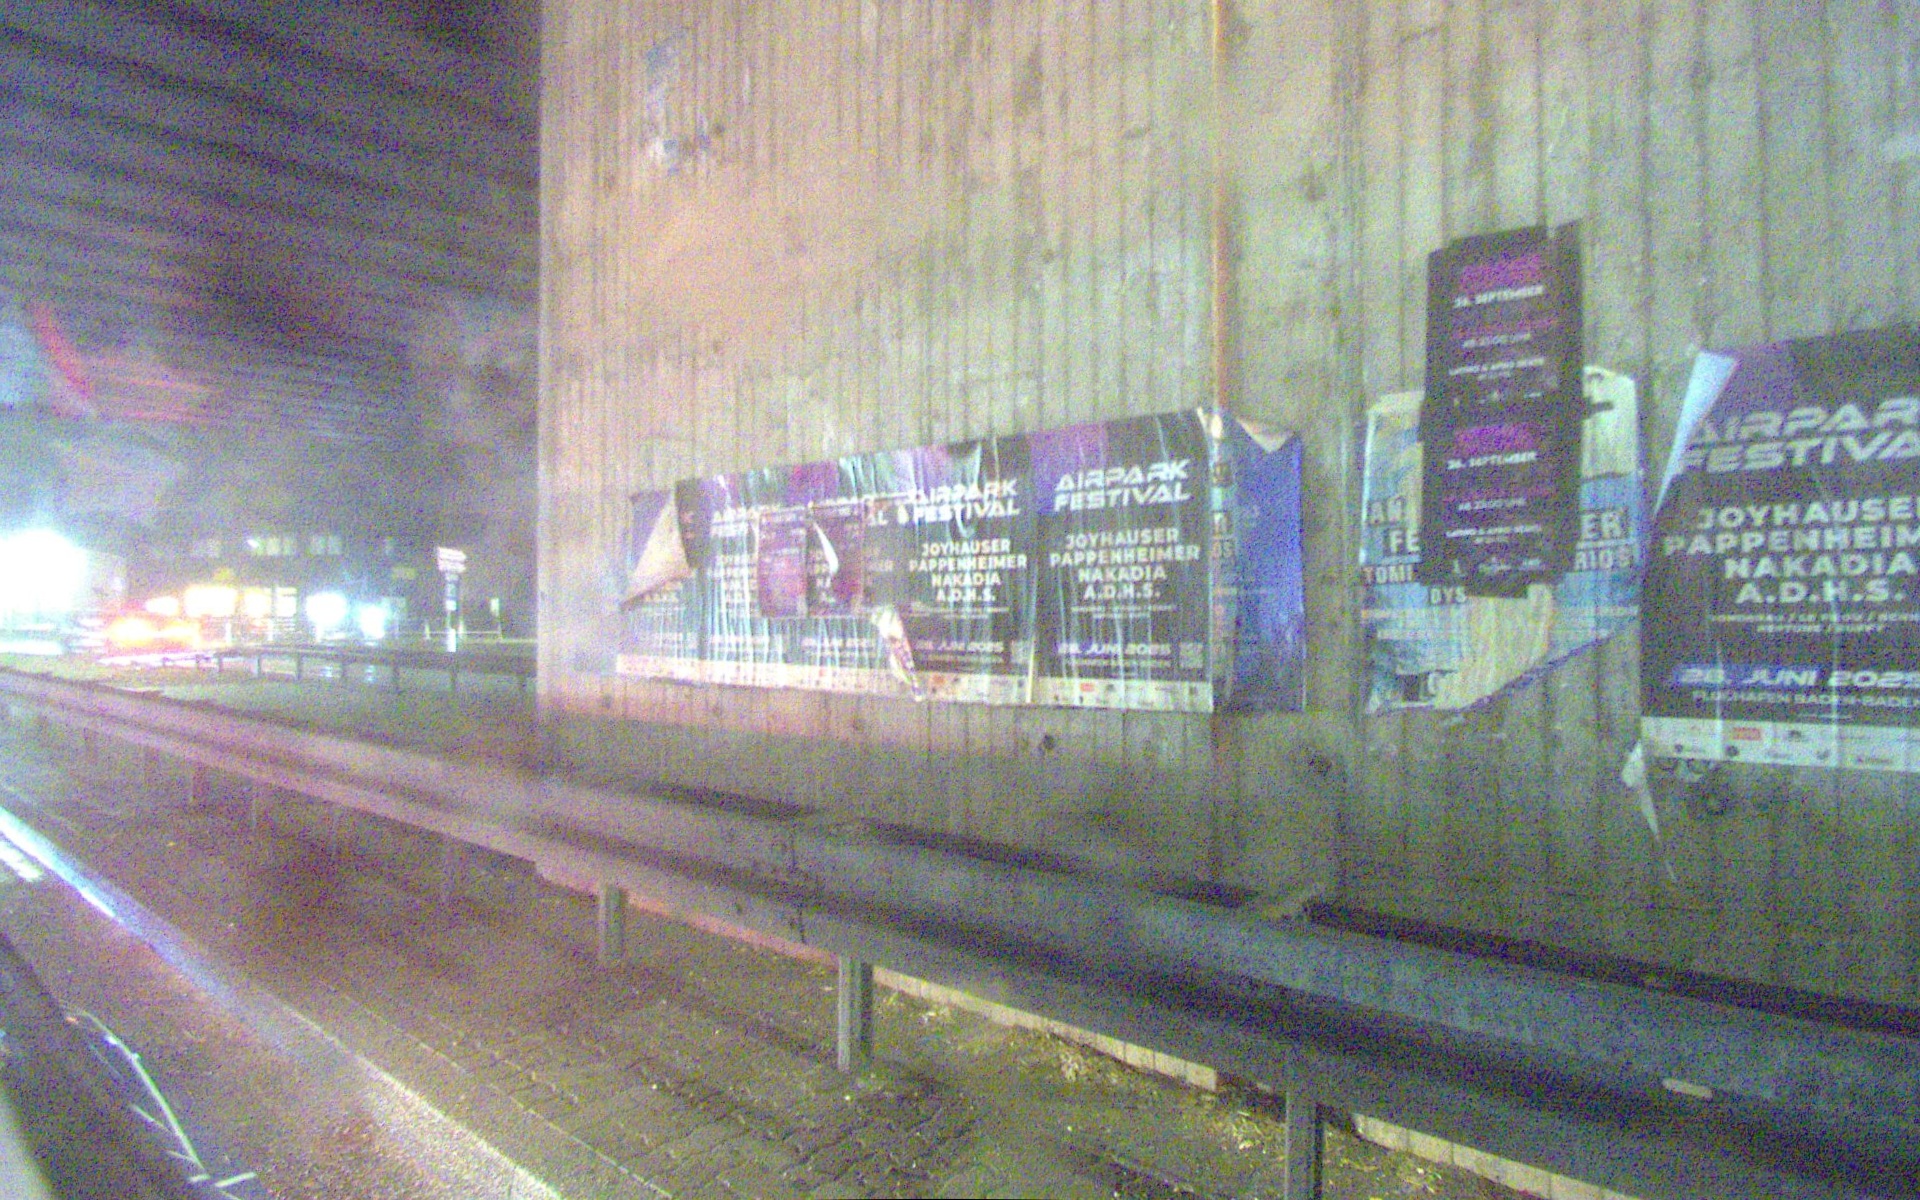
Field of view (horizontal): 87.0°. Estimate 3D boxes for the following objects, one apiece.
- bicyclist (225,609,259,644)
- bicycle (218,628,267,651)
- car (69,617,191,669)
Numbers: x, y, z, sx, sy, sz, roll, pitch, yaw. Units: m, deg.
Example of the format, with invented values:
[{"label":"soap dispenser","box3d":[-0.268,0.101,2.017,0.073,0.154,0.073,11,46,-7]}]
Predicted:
[{"label":"bicyclist","box3d":[-29.828,1.101,42.061,1.181,1.446,0.624,0,-2,24]},{"label":"bicycle","box3d":[-29.802,1.621,42.033,2.200,0.912,0.623,0,-2,24]},{"label":"car","box3d":[-25.836,1.299,31.455,4.415,1.475,1.809,0,0,35]}]
